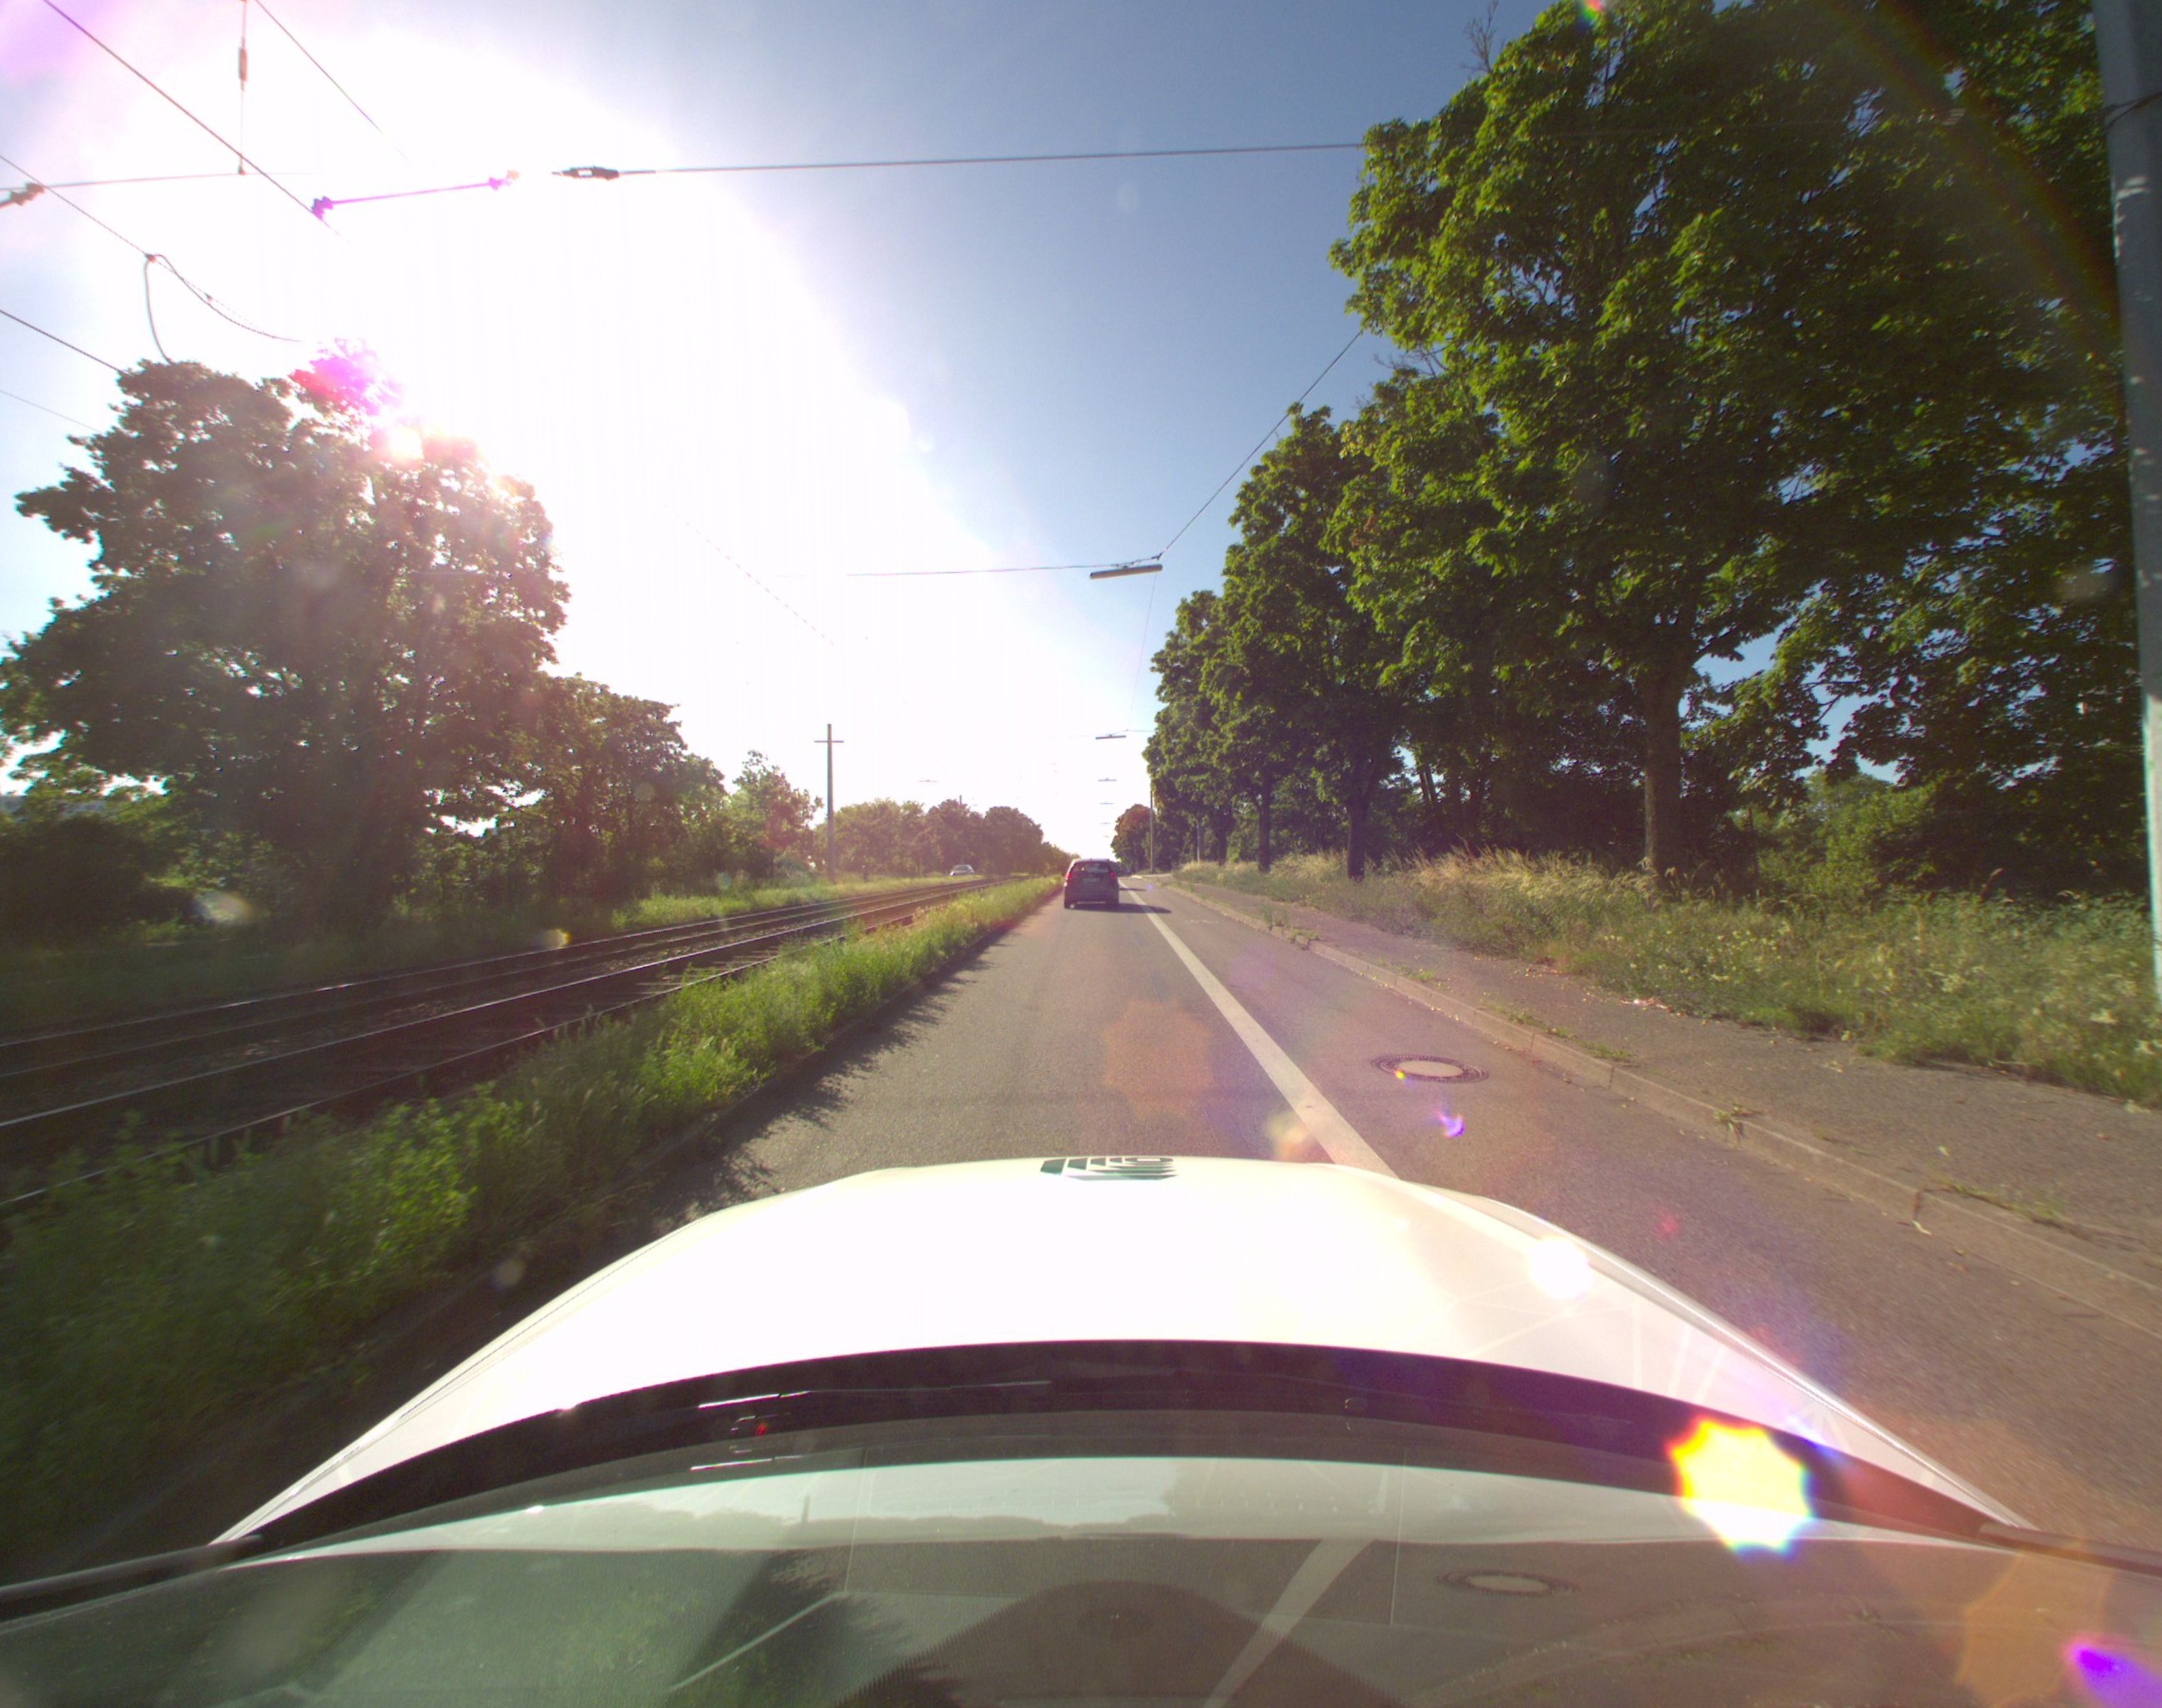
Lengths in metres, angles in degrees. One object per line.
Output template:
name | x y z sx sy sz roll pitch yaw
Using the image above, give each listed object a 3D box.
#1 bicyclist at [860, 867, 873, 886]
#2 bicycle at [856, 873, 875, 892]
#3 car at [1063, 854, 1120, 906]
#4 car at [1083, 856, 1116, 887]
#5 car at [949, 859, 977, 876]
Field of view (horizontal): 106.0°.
bicyclist | -14.639 1.534 55.508 0.580 1.310 0.988 0 0 2
bicycle | -14.649 1.933 55.462 0.587 1.261 2.428 0 0 2
car | 0.384 0.765 25.804 1.663 1.507 3.813 0 0 2
car | 0.996 0.876 42.091 1.648 1.507 3.813 0 0 2
car | -10.927 1.247 75.738 1.802 1.489 4.409 0 0 3
